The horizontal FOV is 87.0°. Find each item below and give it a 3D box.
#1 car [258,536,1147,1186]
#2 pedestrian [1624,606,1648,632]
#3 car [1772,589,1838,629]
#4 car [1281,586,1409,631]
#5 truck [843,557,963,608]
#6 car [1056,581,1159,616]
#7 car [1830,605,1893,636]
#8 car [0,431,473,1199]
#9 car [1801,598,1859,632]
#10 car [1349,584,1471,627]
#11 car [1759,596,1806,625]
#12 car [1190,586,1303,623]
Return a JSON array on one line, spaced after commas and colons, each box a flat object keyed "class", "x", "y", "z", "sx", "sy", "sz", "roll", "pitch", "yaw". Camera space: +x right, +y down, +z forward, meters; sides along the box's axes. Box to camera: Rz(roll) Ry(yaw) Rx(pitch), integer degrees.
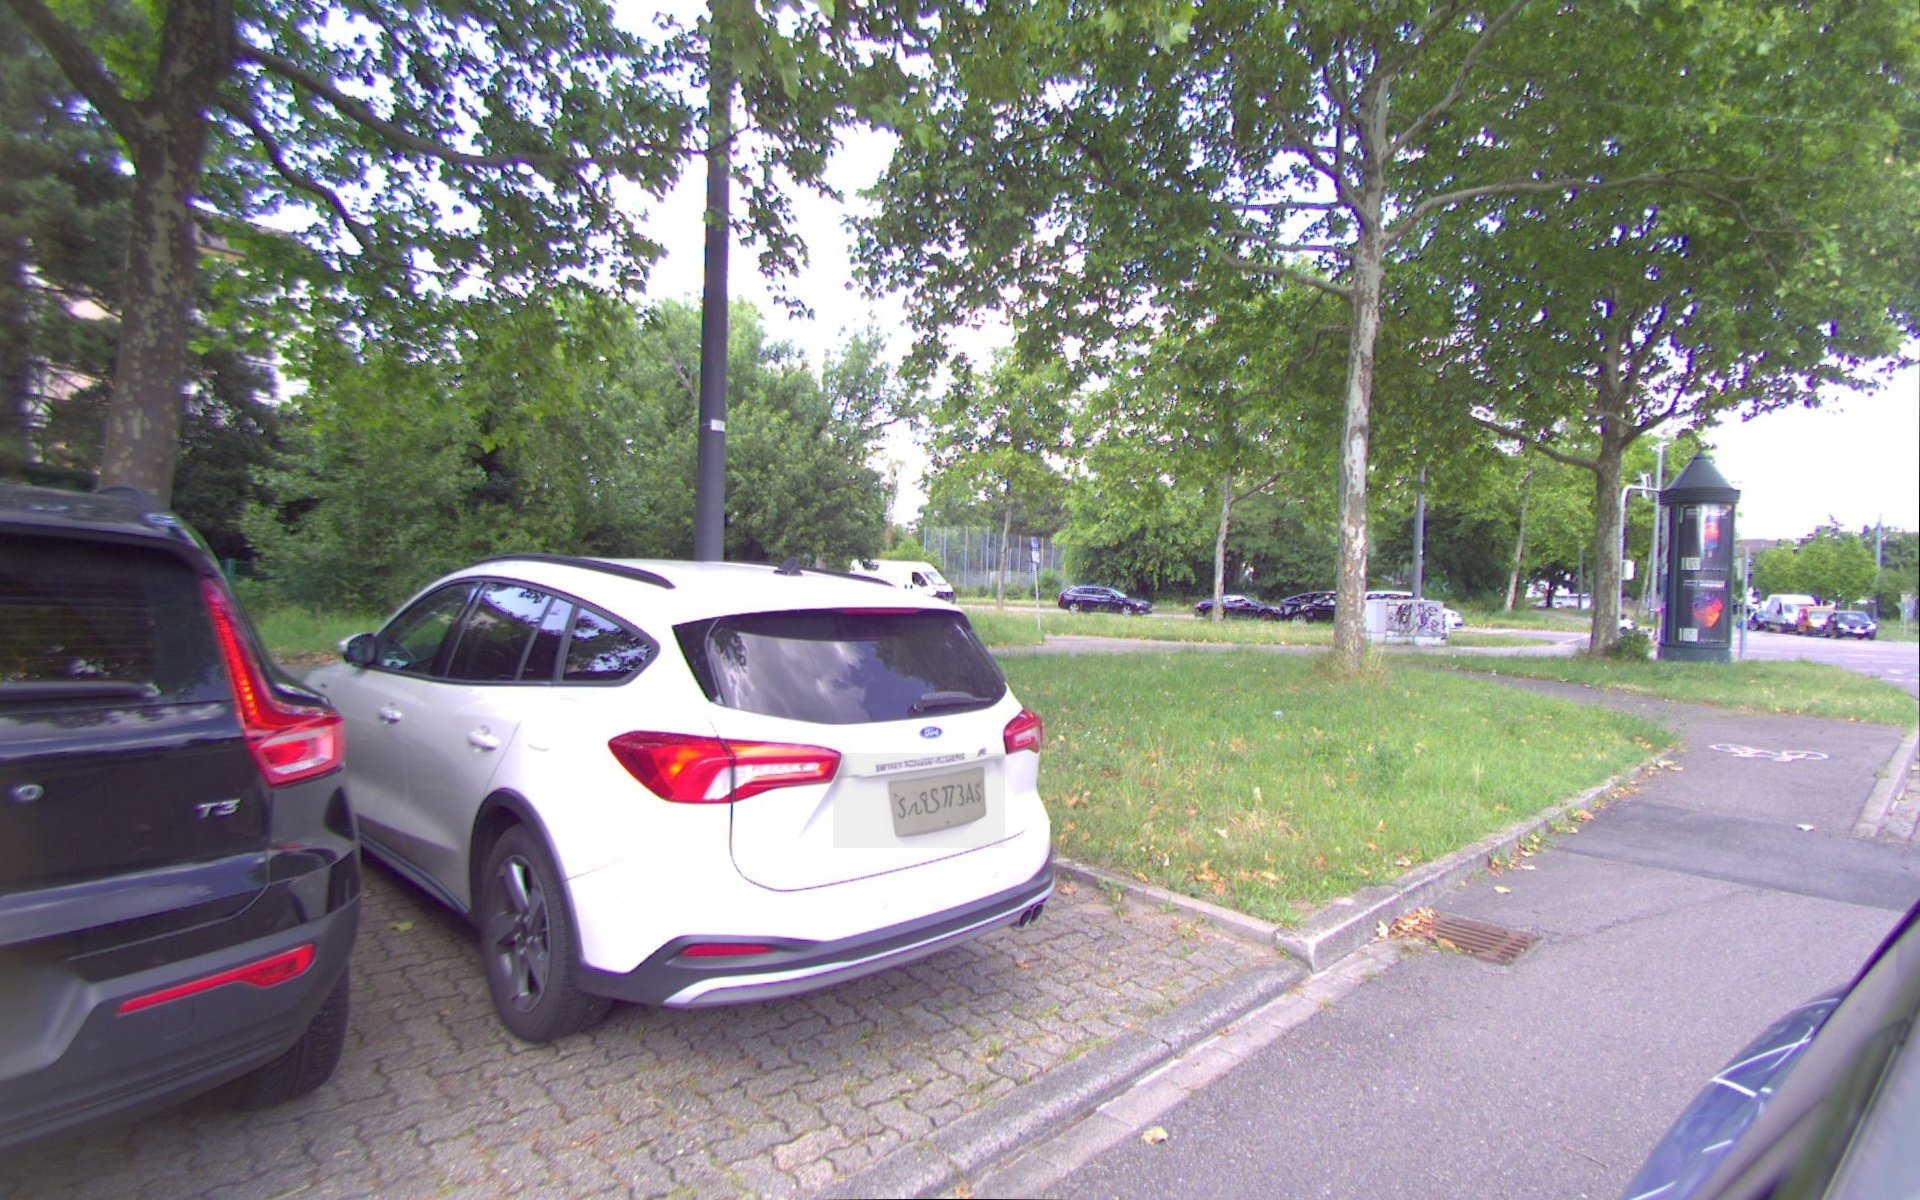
[{"class": "car", "x": -1.629, "y": 0.513, "z": 4.657, "sx": 1.818, "sy": 1.492, "sz": 4.662, "roll": 1, "pitch": 2, "yaw": -45}, {"class": "pedestrian", "x": 28.160, "y": 0.785, "z": 42.160, "sx": 0.716, "sy": 1.047, "sz": 0.893, "roll": 2, "pitch": 1, "yaw": 28}, {"class": "car", "x": 56.462, "y": 0.561, "z": 67.746, "sx": 2.219, "sy": 2.538, "sz": 5.670, "roll": 1, "pitch": 1, "yaw": 28}, {"class": "car", "x": 15.674, "y": 0.296, "z": 41.264, "sx": 4.645, "sy": 1.630, "sz": 1.980, "roll": 2, "pitch": 2, "yaw": 29}, {"class": "truck", "x": -3.213, "y": -0.994, "z": 56.433, "sx": 6.452, "sy": 2.628, "sz": 2.194, "roll": 2, "pitch": 1, "yaw": 29}, {"class": "car", "x": 7.276, "y": -0.101, "z": 49.998, "sx": 4.644, "sy": 1.532, "sz": 1.981, "roll": 2, "pitch": 2, "yaw": 28}, {"class": "car", "x": 50.481, "y": 1.115, "z": 56.743, "sx": 1.781, "sy": 1.558, "sz": 3.958, "roll": 1, "pitch": 1, "yaw": 29}, {"class": "car", "x": -3.344, "y": 0.431, "z": 3.170, "sx": 1.818, "sy": 1.646, "sz": 4.662, "roll": 1, "pitch": 2, "yaw": -45}, {"class": "car", "x": 53.321, "y": 0.899, "z": 62.077, "sx": 1.780, "sy": 1.959, "sz": 4.324, "roll": 1, "pitch": 1, "yaw": 29}, {"class": "car", "x": 19.419, "y": 0.183, "z": 43.701, "sx": 4.644, "sy": 1.630, "sz": 1.981, "roll": 2, "pitch": 2, "yaw": 28}, {"class": "car", "x": 59.097, "y": 0.737, "z": 72.775, "sx": 1.780, "sy": 1.959, "sz": 4.326, "roll": 1, "pitch": 1, "yaw": 28}, {"class": "car", "x": 13.192, "y": 0.172, "z": 46.601, "sx": 4.706, "sy": 1.487, "sz": 1.981, "roll": 2, "pitch": 2, "yaw": 28}]
